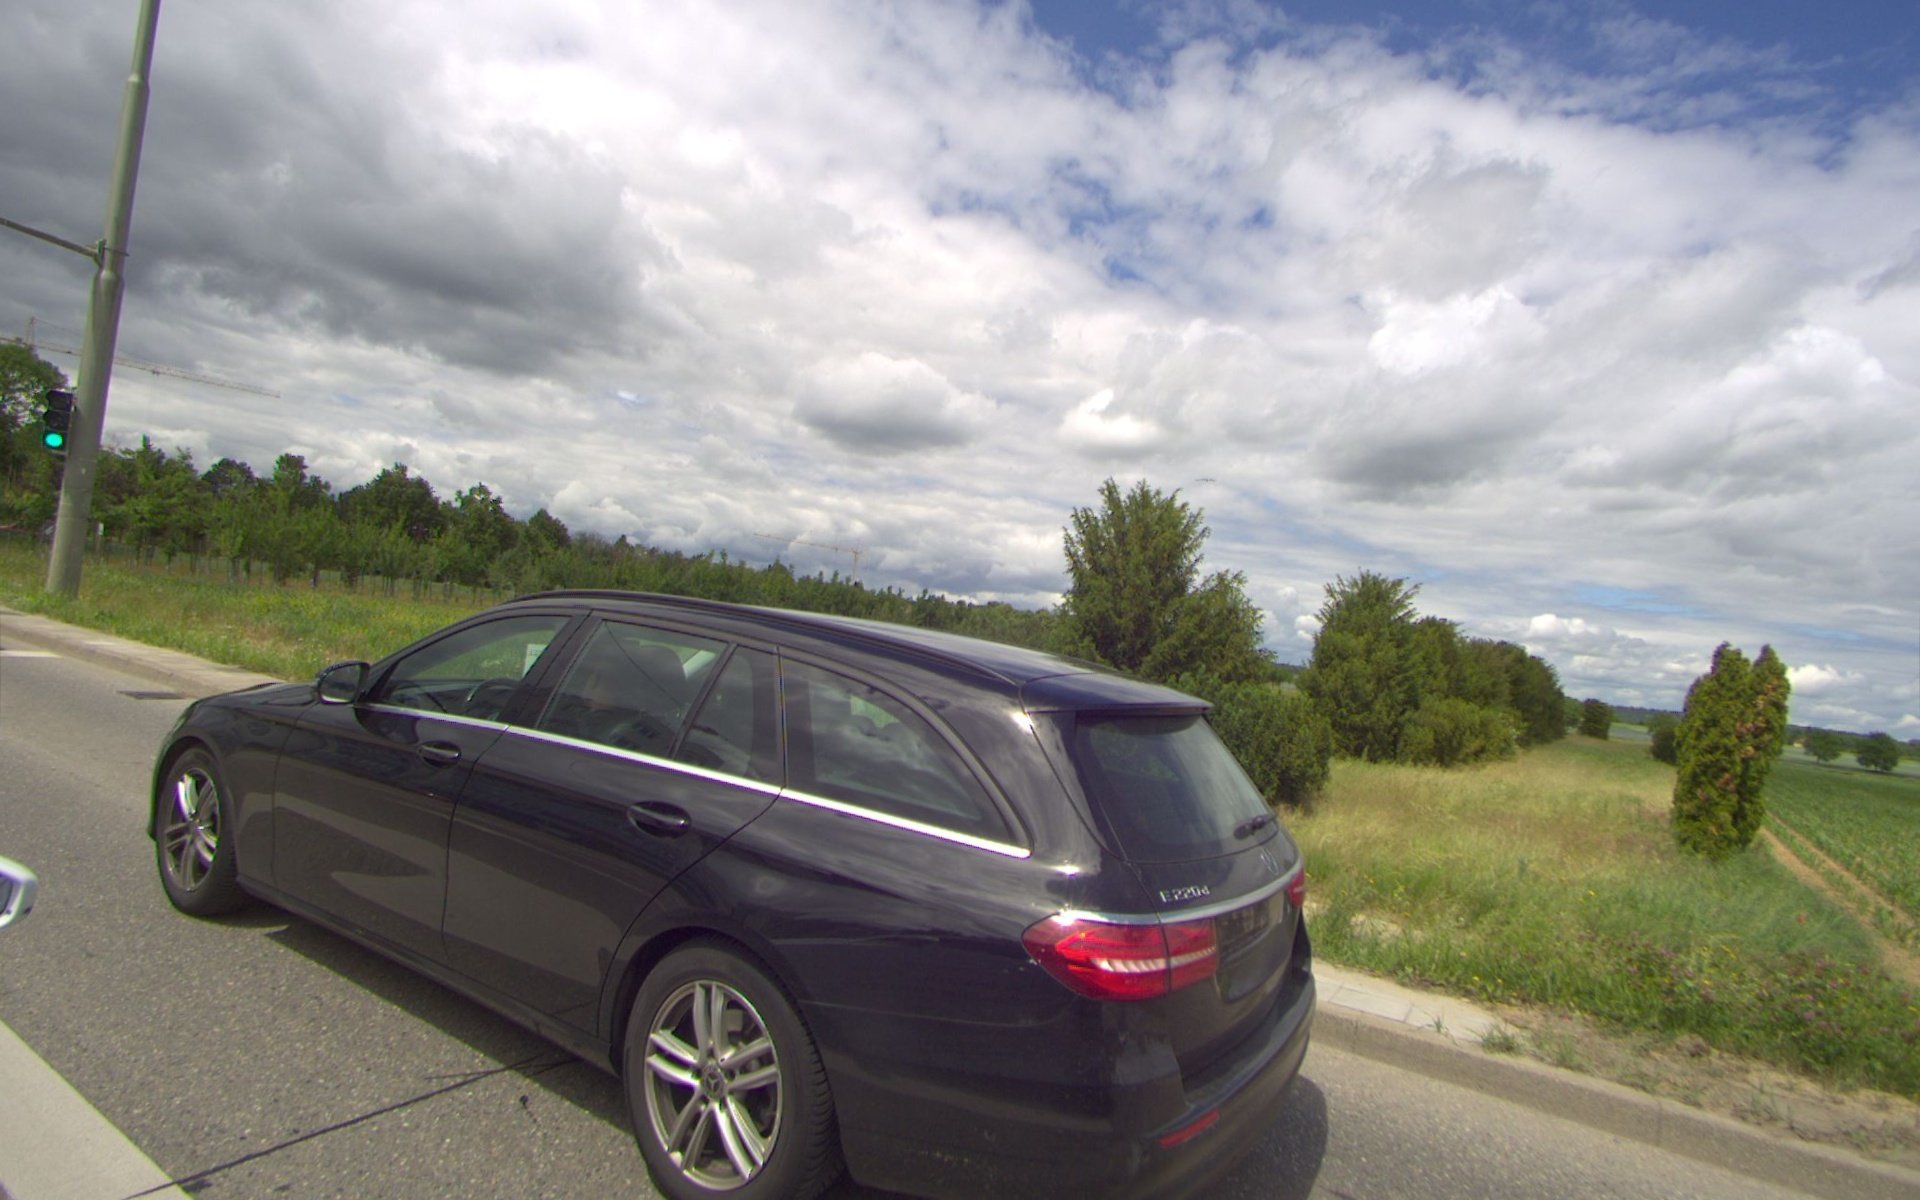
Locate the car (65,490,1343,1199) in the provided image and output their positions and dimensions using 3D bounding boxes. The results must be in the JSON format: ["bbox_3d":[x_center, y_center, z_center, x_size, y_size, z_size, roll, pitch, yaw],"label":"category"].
[{"bbox_3d":[-1.278,0.670,3.847,4.725,1.557,1.841,8,0,32],"label":"car"}]
